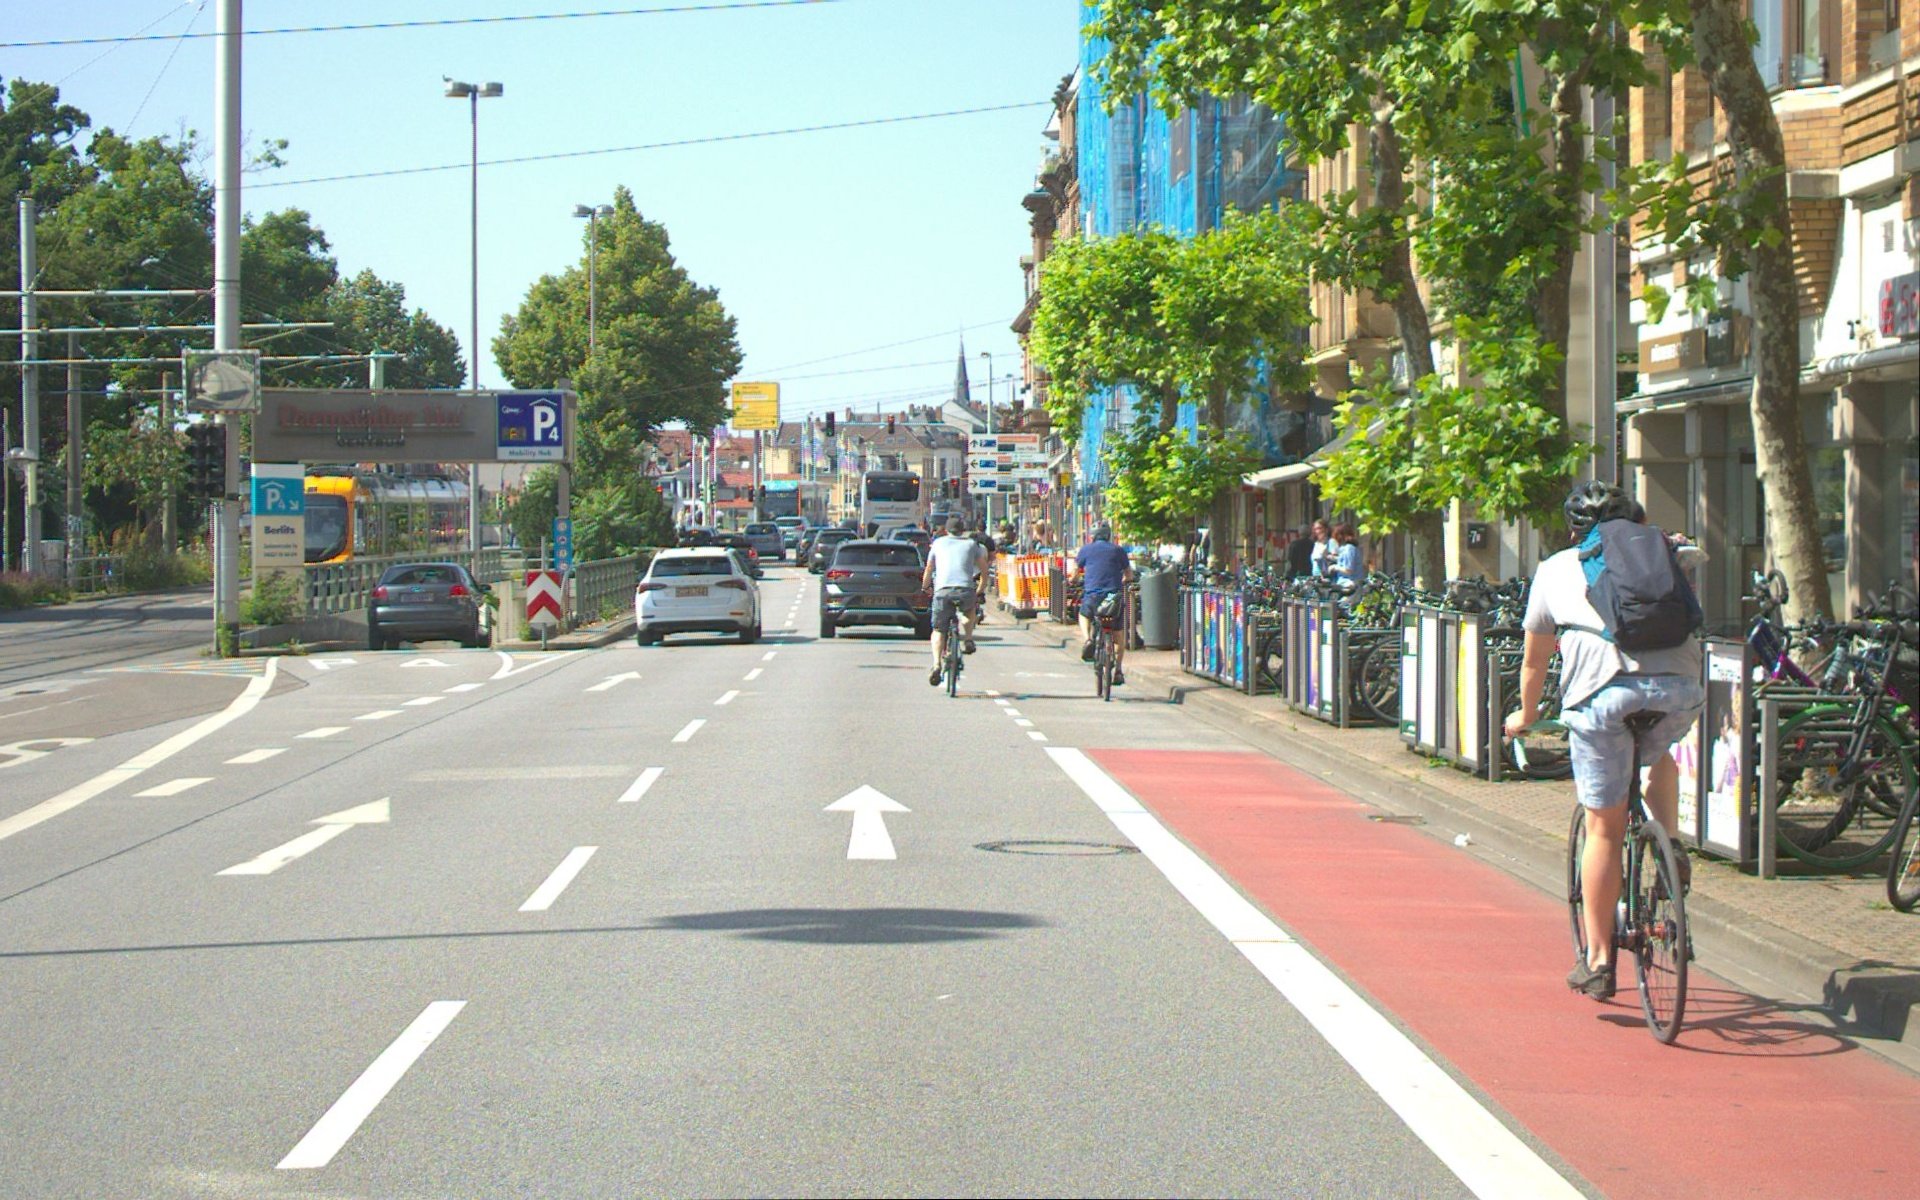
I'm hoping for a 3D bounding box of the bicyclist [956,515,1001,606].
[{"bbox_3d":[0.328,-0.698,60.634,0.688,1.571,1.050,2,1,-3],"label":"bicyclist"}]

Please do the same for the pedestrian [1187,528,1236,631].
[{"bbox_3d":[4.562,-0.378,62.365,0.814,1.842,0.891,-1,1,6],"label":"pedestrian"}]

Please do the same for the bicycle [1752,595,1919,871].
[{"bbox_3d":[4.317,0.558,14.664,1.752,1.143,0.483,0,1,-3],"label":"bicycle"}]

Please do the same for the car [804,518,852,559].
[{"bbox_3d":[-4.282,-2.008,111.979,1.451,1.296,3.342,2,1,-1],"label":"car"}]

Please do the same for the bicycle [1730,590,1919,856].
[{"bbox_3d":[4.344,0.534,15.194,1.752,1.143,0.527,0,1,-3],"label":"bicycle"}]

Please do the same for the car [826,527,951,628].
[{"bbox_3d":[-1.128,-0.378,54.607,1.873,1.487,4.000,2,1,-1],"label":"car"}]

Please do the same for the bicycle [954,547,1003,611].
[{"bbox_3d":[0.318,-0.375,60.688,0.734,1.089,1.898,2,1,-2],"label":"bicycle"}]

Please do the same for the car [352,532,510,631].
[{"bbox_3d":[-8.604,-0.334,56.200,1.993,1.503,4.000,2,1,-1],"label":"car"}]

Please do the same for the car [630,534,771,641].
[{"bbox_3d":[-3.924,-0.222,52.535,1.858,1.502,4.000,2,1,-1],"label":"car"}]

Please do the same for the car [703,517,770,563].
[{"bbox_3d":[-6.836,-1.846,105.561,1.815,1.327,4.000,2,1,-1],"label":"car"}]

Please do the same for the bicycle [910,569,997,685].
[{"bbox_3d":[-0.079,0.258,34.450,0.734,1.089,1.898,2,1,-3],"label":"bicycle"}]

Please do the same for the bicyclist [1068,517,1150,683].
[{"bbox_3d":[1.477,-0.010,34.215,0.688,1.610,0.918,2,1,-3],"label":"bicyclist"}]

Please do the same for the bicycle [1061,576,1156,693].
[{"bbox_3d":[1.466,0.332,34.252,0.734,1.089,1.911,2,1,-3],"label":"bicycle"}]

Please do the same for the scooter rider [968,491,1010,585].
[{"bbox_3d":[0.530,-1.150,63.952,0.688,1.723,0.778,2,1,-2],"label":"scooter rider"}]

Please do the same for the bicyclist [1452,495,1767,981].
[{"bbox_3d":[2.055,0.410,11.011,0.688,1.458,1.143,2,1,-3],"label":"bicyclist"}]

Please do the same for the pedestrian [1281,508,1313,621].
[{"bbox_3d":[5.047,-0.537,51.502,0.381,1.677,0.476,-1,1,15],"label":"pedestrian"}]

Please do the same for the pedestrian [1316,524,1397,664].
[{"bbox_3d":[4.657,-0.074,40.407,0.695,1.620,0.702,-2,1,-17],"label":"pedestrian"}]

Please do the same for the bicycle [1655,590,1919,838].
[{"bbox_3d":[4.219,0.530,16.255,1.752,1.143,0.483,0,1,-3],"label":"bicycle"}]

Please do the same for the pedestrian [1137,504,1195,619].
[{"bbox_3d":[3.038,-0.567,50.800,0.656,1.677,0.653,0,0,-18],"label":"pedestrian"}]

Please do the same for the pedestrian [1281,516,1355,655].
[{"bbox_3d":[4.271,-0.174,41.011,0.599,1.620,0.644,-3,1,-18],"label":"pedestrian"}]

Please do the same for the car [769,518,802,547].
[{"bbox_3d":[-8.007,-3.098,158.116,1.451,1.296,3.342,2,1,-2],"label":"car"}]

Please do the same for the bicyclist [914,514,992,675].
[{"bbox_3d":[-0.076,-0.065,34.384,0.688,1.571,1.050,2,1,-3],"label":"bicyclist"}]

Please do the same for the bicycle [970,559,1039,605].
[{"bbox_3d":[1.161,-0.484,90.330,1.771,1.174,0.608,1,1,-1],"label":"bicycle"}]

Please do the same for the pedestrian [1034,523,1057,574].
[{"bbox_3d":[2.778,-1.664,111.340,0.654,1.615,0.815,-1,2,-3],"label":"pedestrian"}]

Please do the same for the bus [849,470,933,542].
[{"bbox_3d":[-2.885,-3.815,140.258,2.968,2.767,8.643,2,1,-4],"label":"bus"}]

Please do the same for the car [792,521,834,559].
[{"bbox_3d":[-5.323,-2.173,124.343,1.451,1.296,3.342,2,1,-2],"label":"car"}]

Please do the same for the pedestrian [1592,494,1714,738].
[{"bbox_3d":[4.743,0.099,23.563,0.652,1.628,0.730,2,1,1],"label":"pedestrian"}]

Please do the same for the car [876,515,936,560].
[{"bbox_3d":[-1.879,-2.193,119.902,1.993,1.487,4.000,2,1,-1],"label":"car"}]

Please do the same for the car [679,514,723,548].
[{"bbox_3d":[-10.298,-2.736,136.801,1.451,1.296,4.000,2,1,-1],"label":"car"}]

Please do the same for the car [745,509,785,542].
[{"bbox_3d":[-7.985,-3.063,140.920,1.451,1.296,4.000,2,1,-1],"label":"car"}]

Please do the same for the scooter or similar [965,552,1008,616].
[{"bbox_3d":[0.488,-0.305,63.928,0.688,1.163,1.464,2,1,-2],"label":"scooter or similar"}]

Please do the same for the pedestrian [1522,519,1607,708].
[{"bbox_3d":[5.793,0.118,32.966,0.668,1.775,0.985,-1,1,3],"label":"pedestrian"}]
